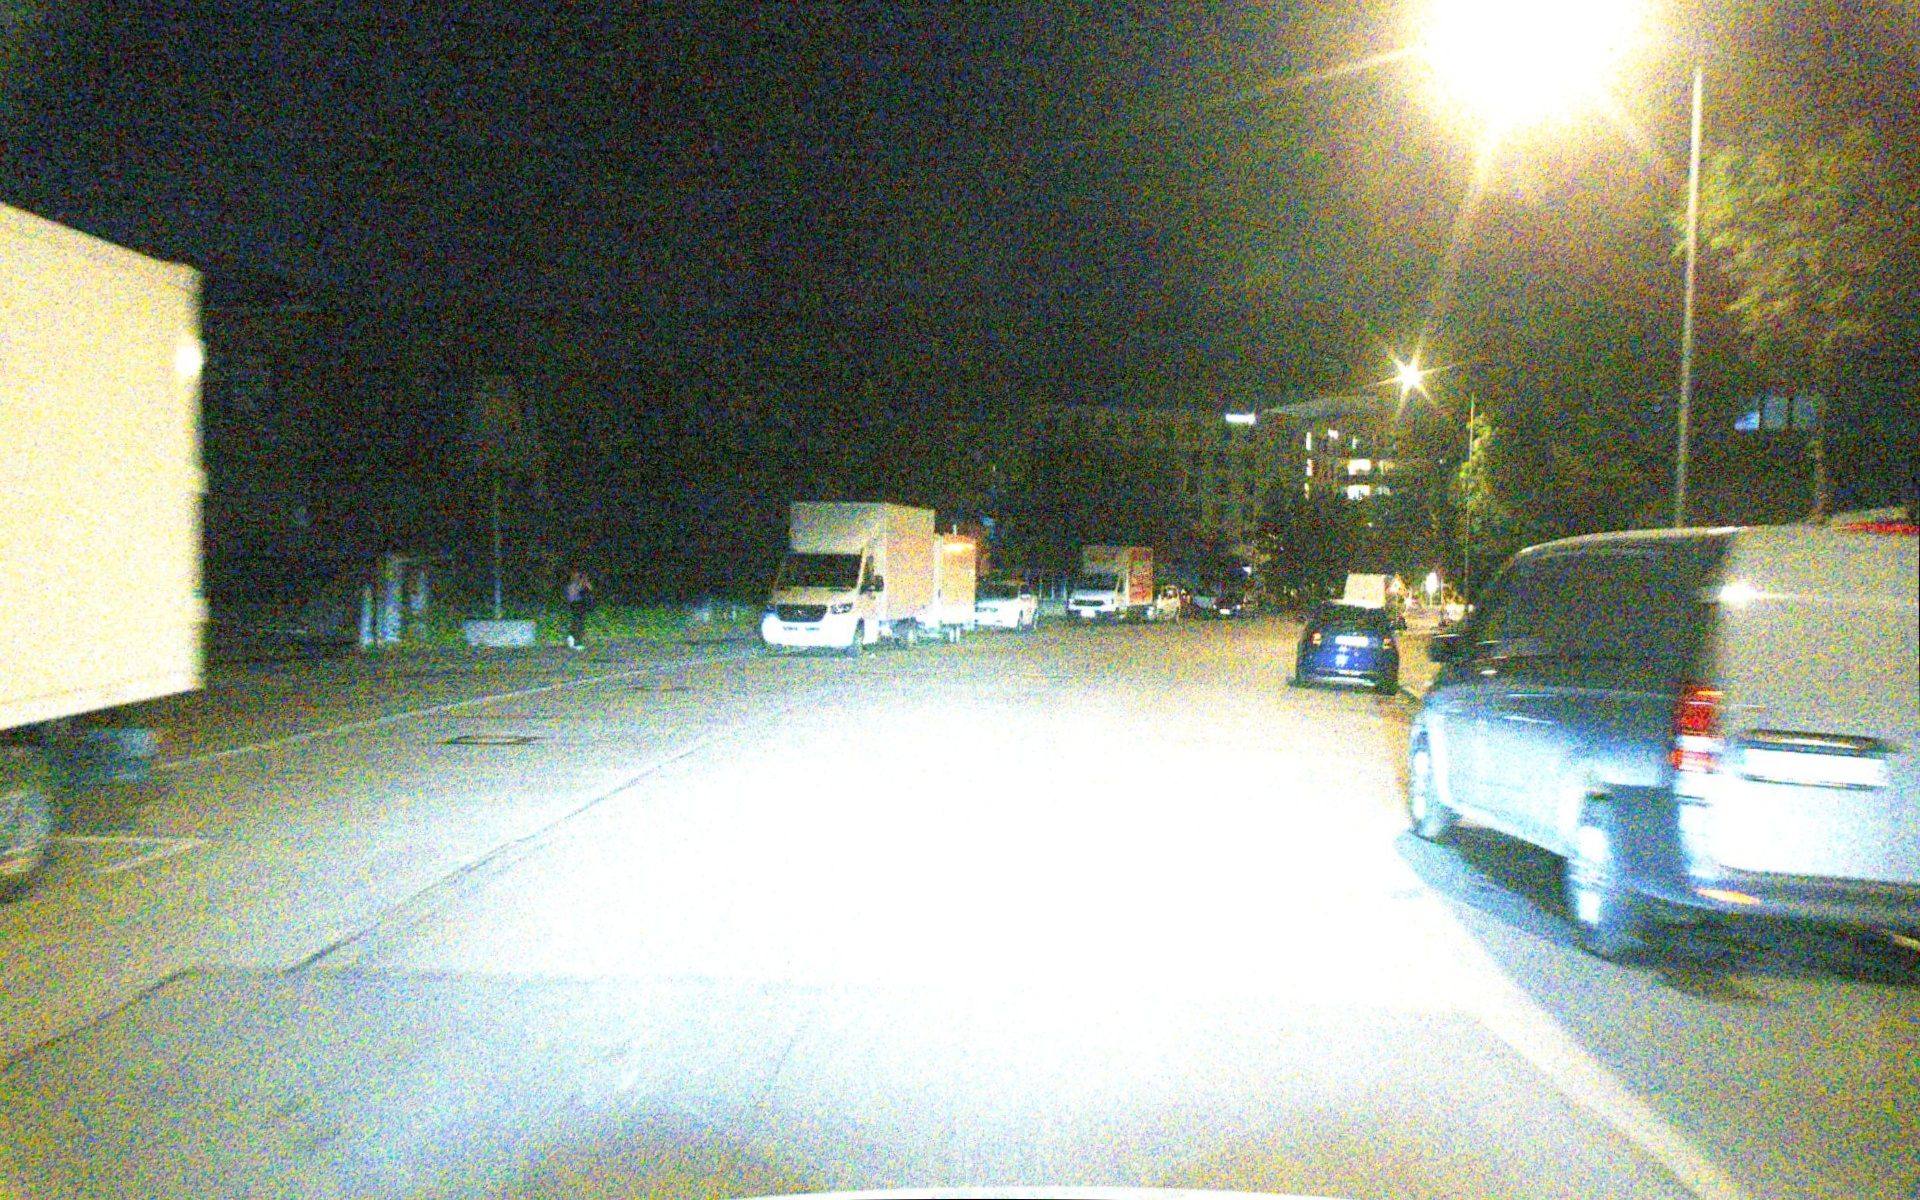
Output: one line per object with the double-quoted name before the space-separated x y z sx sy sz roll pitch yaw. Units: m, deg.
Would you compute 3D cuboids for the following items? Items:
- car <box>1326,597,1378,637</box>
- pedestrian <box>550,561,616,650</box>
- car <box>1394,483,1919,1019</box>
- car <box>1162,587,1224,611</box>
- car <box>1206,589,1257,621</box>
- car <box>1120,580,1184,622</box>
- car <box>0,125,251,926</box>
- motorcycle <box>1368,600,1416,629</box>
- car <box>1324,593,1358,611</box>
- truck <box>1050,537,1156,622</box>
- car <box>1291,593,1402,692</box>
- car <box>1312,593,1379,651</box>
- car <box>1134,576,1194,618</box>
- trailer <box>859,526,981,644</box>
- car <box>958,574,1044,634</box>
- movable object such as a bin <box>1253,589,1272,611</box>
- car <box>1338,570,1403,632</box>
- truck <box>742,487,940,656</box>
"car" 15.964 0.653 67.288 1.675 1.534 4.642 2 0 18
"pedestrian" -7.314 0.106 32.120 0.764 1.700 1.002 0 0 37
"car" 3.940 0.574 9.040 1.952 2.049 5.357 1 0 3
"car" 16.018 -0.055 113.596 3.906 1.598 1.817 1 0 22
"car" 15.255 0.299 92.647 1.720 1.552 4.320 4 0 24
"car" 8.829 0.056 75.729 1.791 1.848 4.839 1 0 20
"car" -5.094 -0.308 5.640 2.334 3.299 7.230 1 0 -2
"motorcycle" 20.226 0.667 77.417 0.760 1.204 2.158 2 1 -36
"car" 29.928 0.153 129.842 1.872 1.428 4.337 1 0 23
"truck" 6.101 -0.826 69.471 2.491 3.337 7.313 1 0 20
"car" 6.818 0.702 29.468 1.574 1.538 3.829 4 1 9
"car" 11.068 0.597 47.641 1.674 1.534 4.004 2 1 11
"car" 11.909 -0.145 96.219 1.954 2.362 4.962 -1 0 26
"trailer" -0.954 -0.372 42.811 2.157 2.844 4.620 1 0 11
"car" 1.387 0.108 53.586 1.951 1.803 4.696 1 0 12
"movable object such as a bin" 21.689 -0.013 118.698 1.140 1.522 1.066 1 0 19
"car" 18.276 0.056 73.466 1.979 2.570 6.051 3 1 21
"truck" -2.412 -0.588 36.229 2.322 3.299 7.238 1 0 12
